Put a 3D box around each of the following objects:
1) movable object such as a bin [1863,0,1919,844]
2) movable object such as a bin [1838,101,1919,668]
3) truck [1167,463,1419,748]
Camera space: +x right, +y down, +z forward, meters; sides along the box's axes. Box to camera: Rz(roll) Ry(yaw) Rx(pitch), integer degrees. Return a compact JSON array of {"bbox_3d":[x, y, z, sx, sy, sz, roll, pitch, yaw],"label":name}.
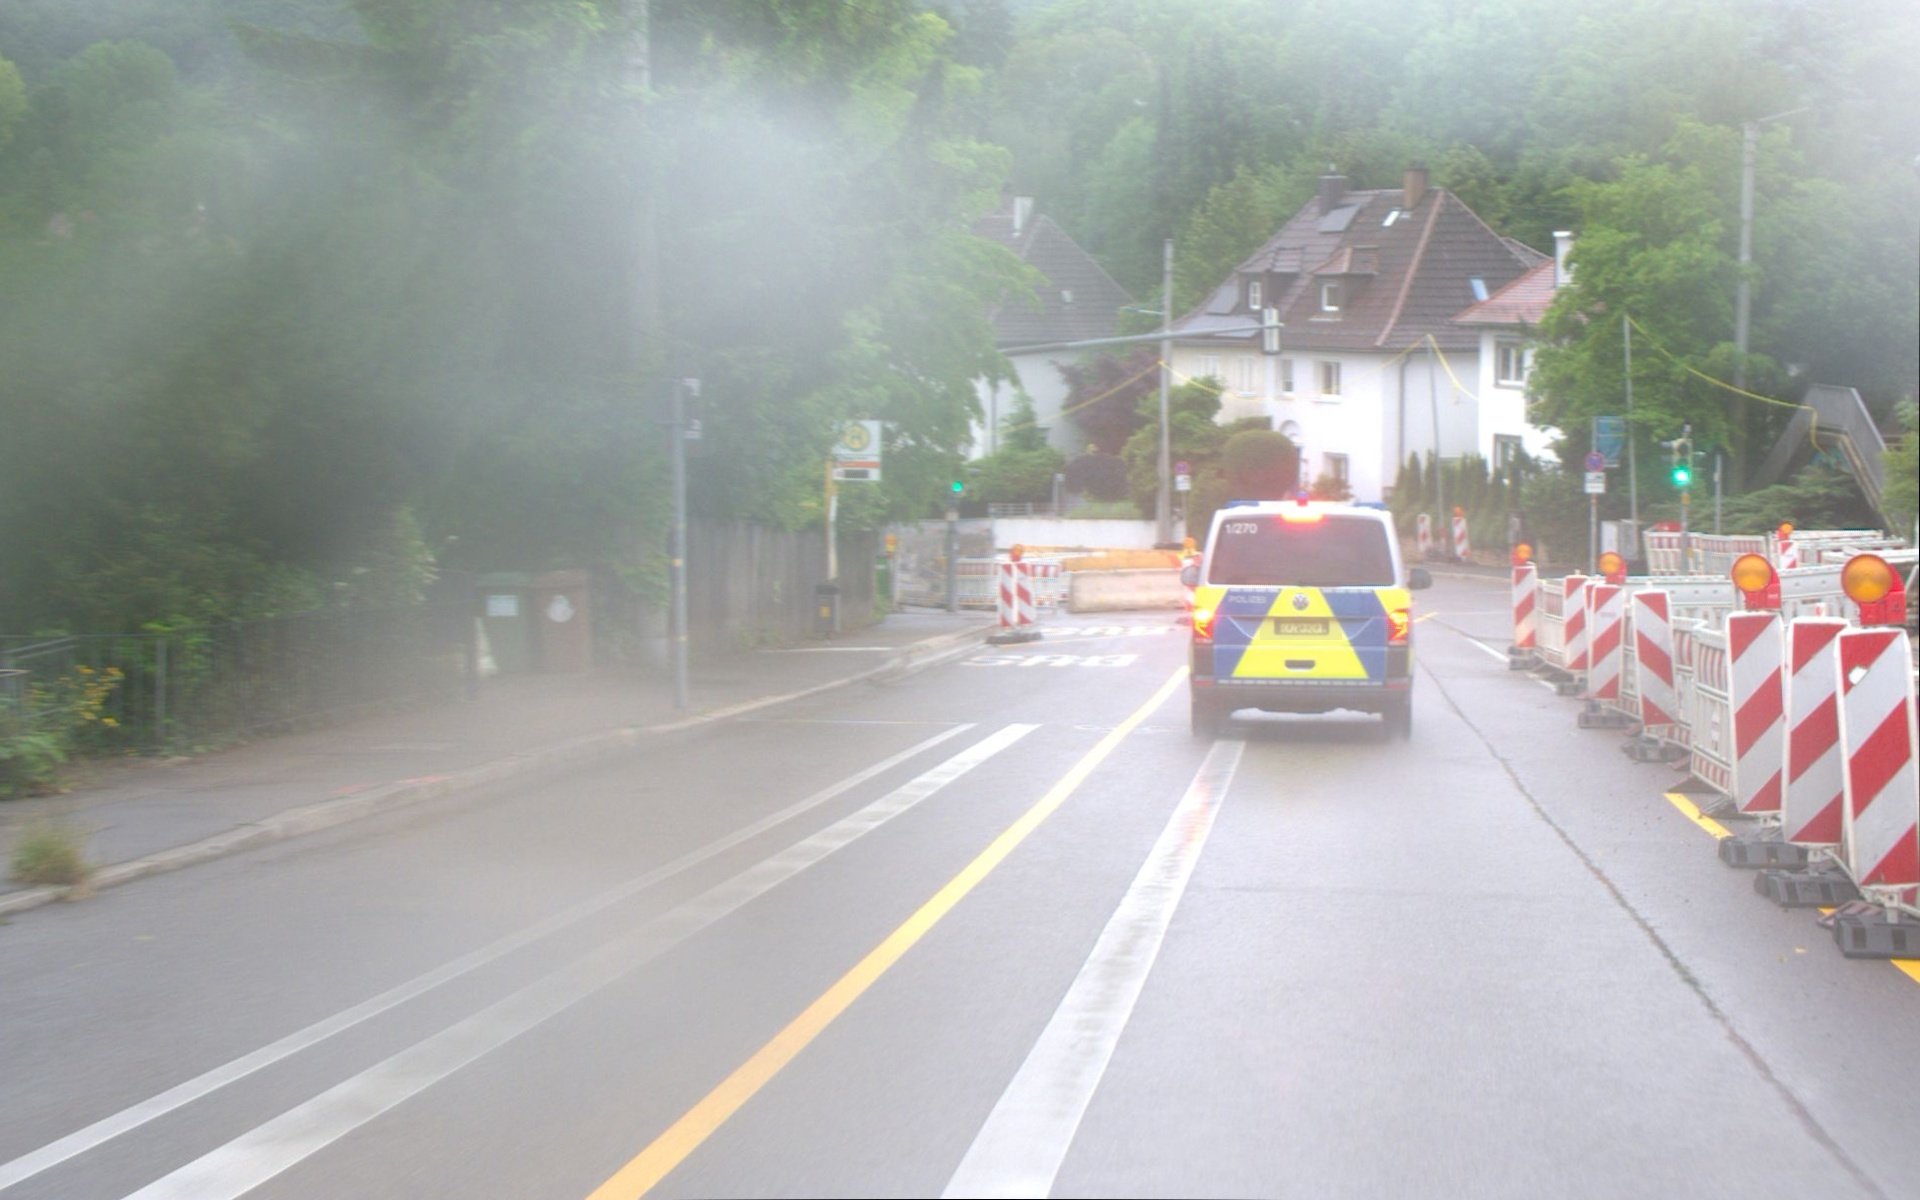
[{"bbox_3d":[8.726,-1.256,13.974,3.057,4.902,10.820,1,-1,-30],"label":"movable object such as a bin"},{"bbox_3d":[14.562,-2.544,41.884,6.950,6.666,3.045,0,1,2],"label":"movable object such as a bin"},{"bbox_3d":[2.975,-0.038,29.935,1.994,2.006,4.735,-1,5,7],"label":"truck"}]
